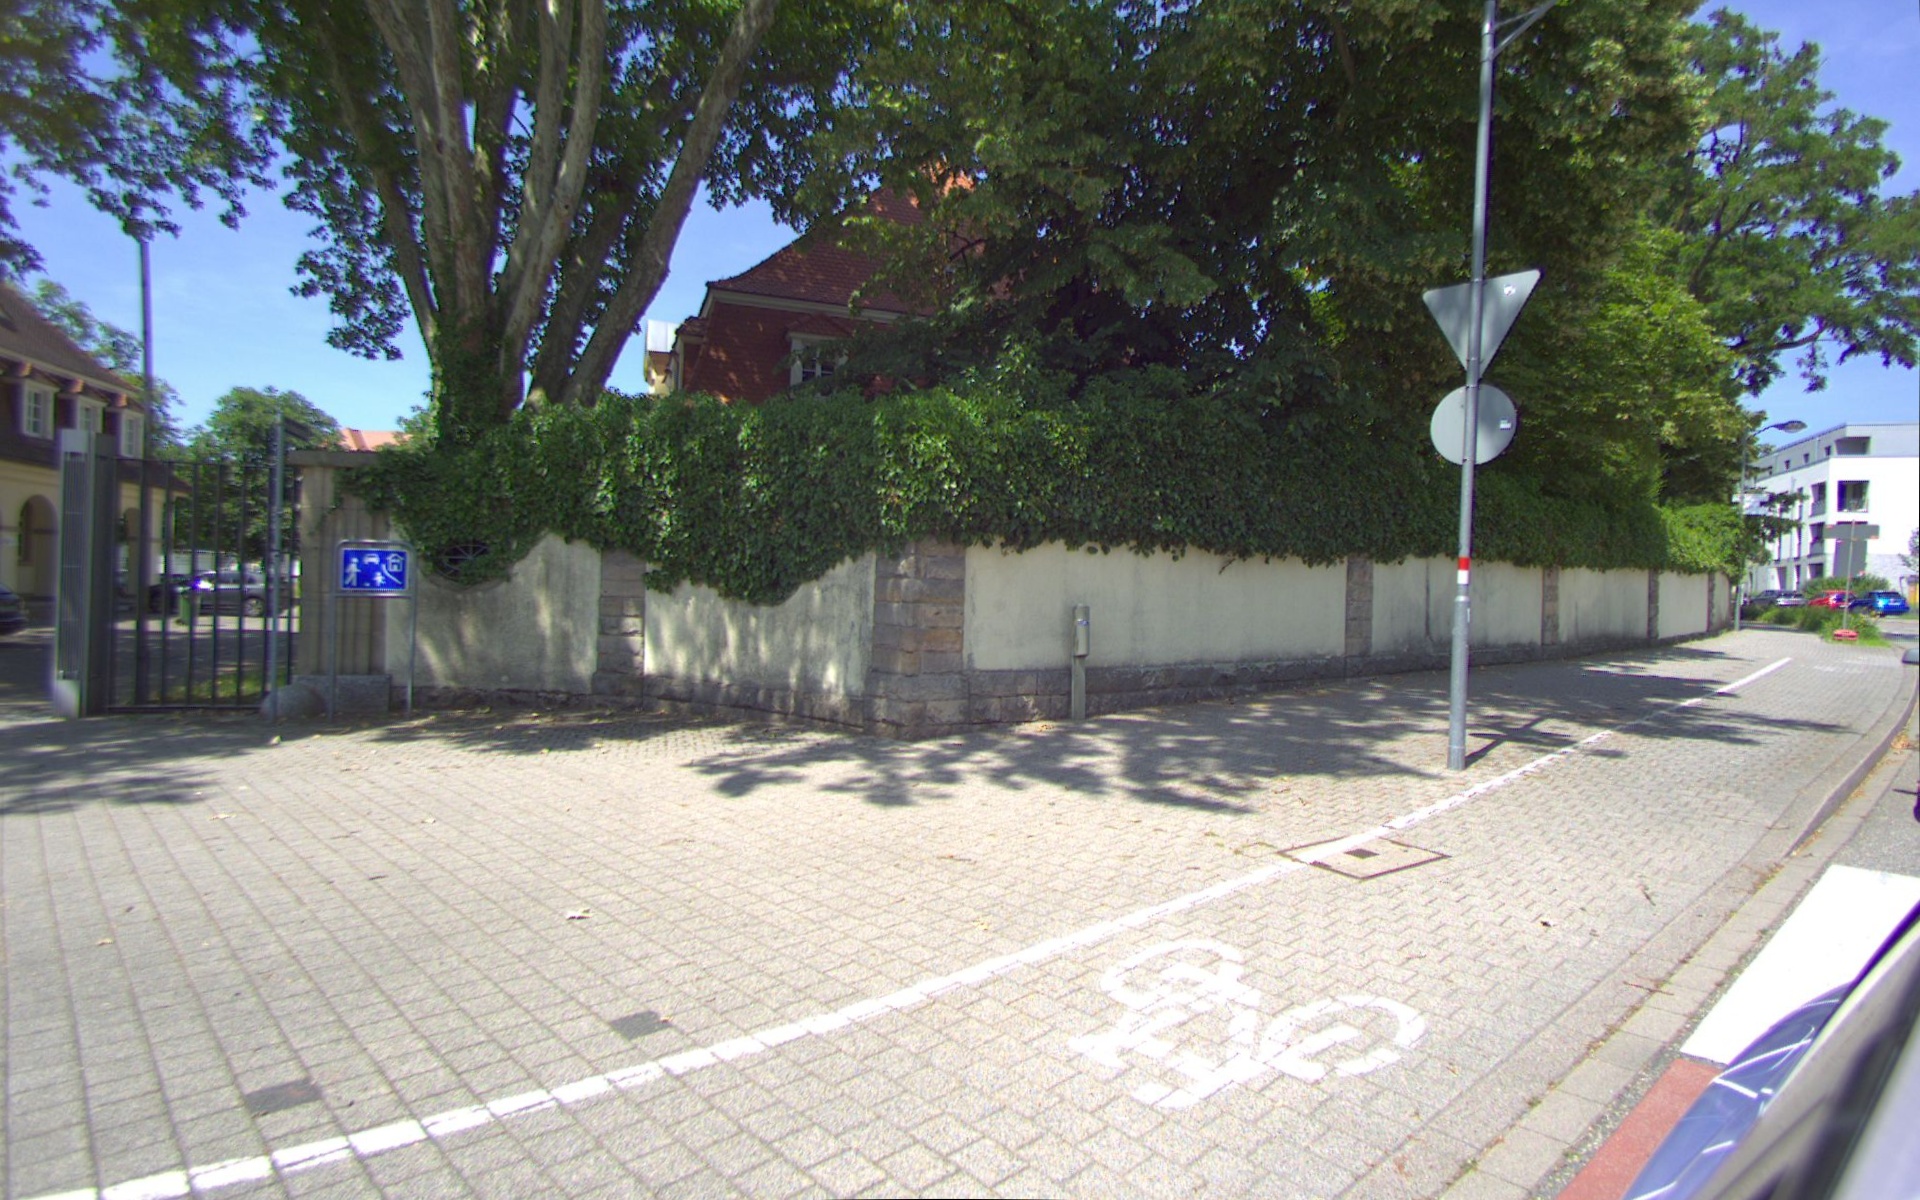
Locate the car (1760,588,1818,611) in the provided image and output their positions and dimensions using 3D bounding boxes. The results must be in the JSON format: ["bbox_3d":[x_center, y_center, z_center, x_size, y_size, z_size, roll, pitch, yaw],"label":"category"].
[{"bbox_3d":[54.219,-0.073,66.267,1.685,1.431,3.700,0,1,18],"label":"car"}]

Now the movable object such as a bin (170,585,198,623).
[{"bbox_3d":[-21.135,0.096,27.575,0.525,1.021,0.530,1,1,44],"label":"movable object such as a bin"}]

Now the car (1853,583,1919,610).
[{"bbox_3d":[50.557,-0.214,54.975,1.685,1.431,3.700,0,1,18],"label":"car"}]

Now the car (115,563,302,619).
[{"bbox_3d":[-24.507,-0.294,33.204,4.407,1.420,2.004,5,0,-15],"label":"car"}]

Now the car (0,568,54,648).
[{"bbox_3d":[-20.115,-0.016,18.778,4.407,1.420,2.004,5,0,-15],"label":"car"}]

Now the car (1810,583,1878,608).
[{"bbox_3d":[52.421,-0.282,60.092,1.685,1.431,3.700,0,1,18],"label":"car"}]
